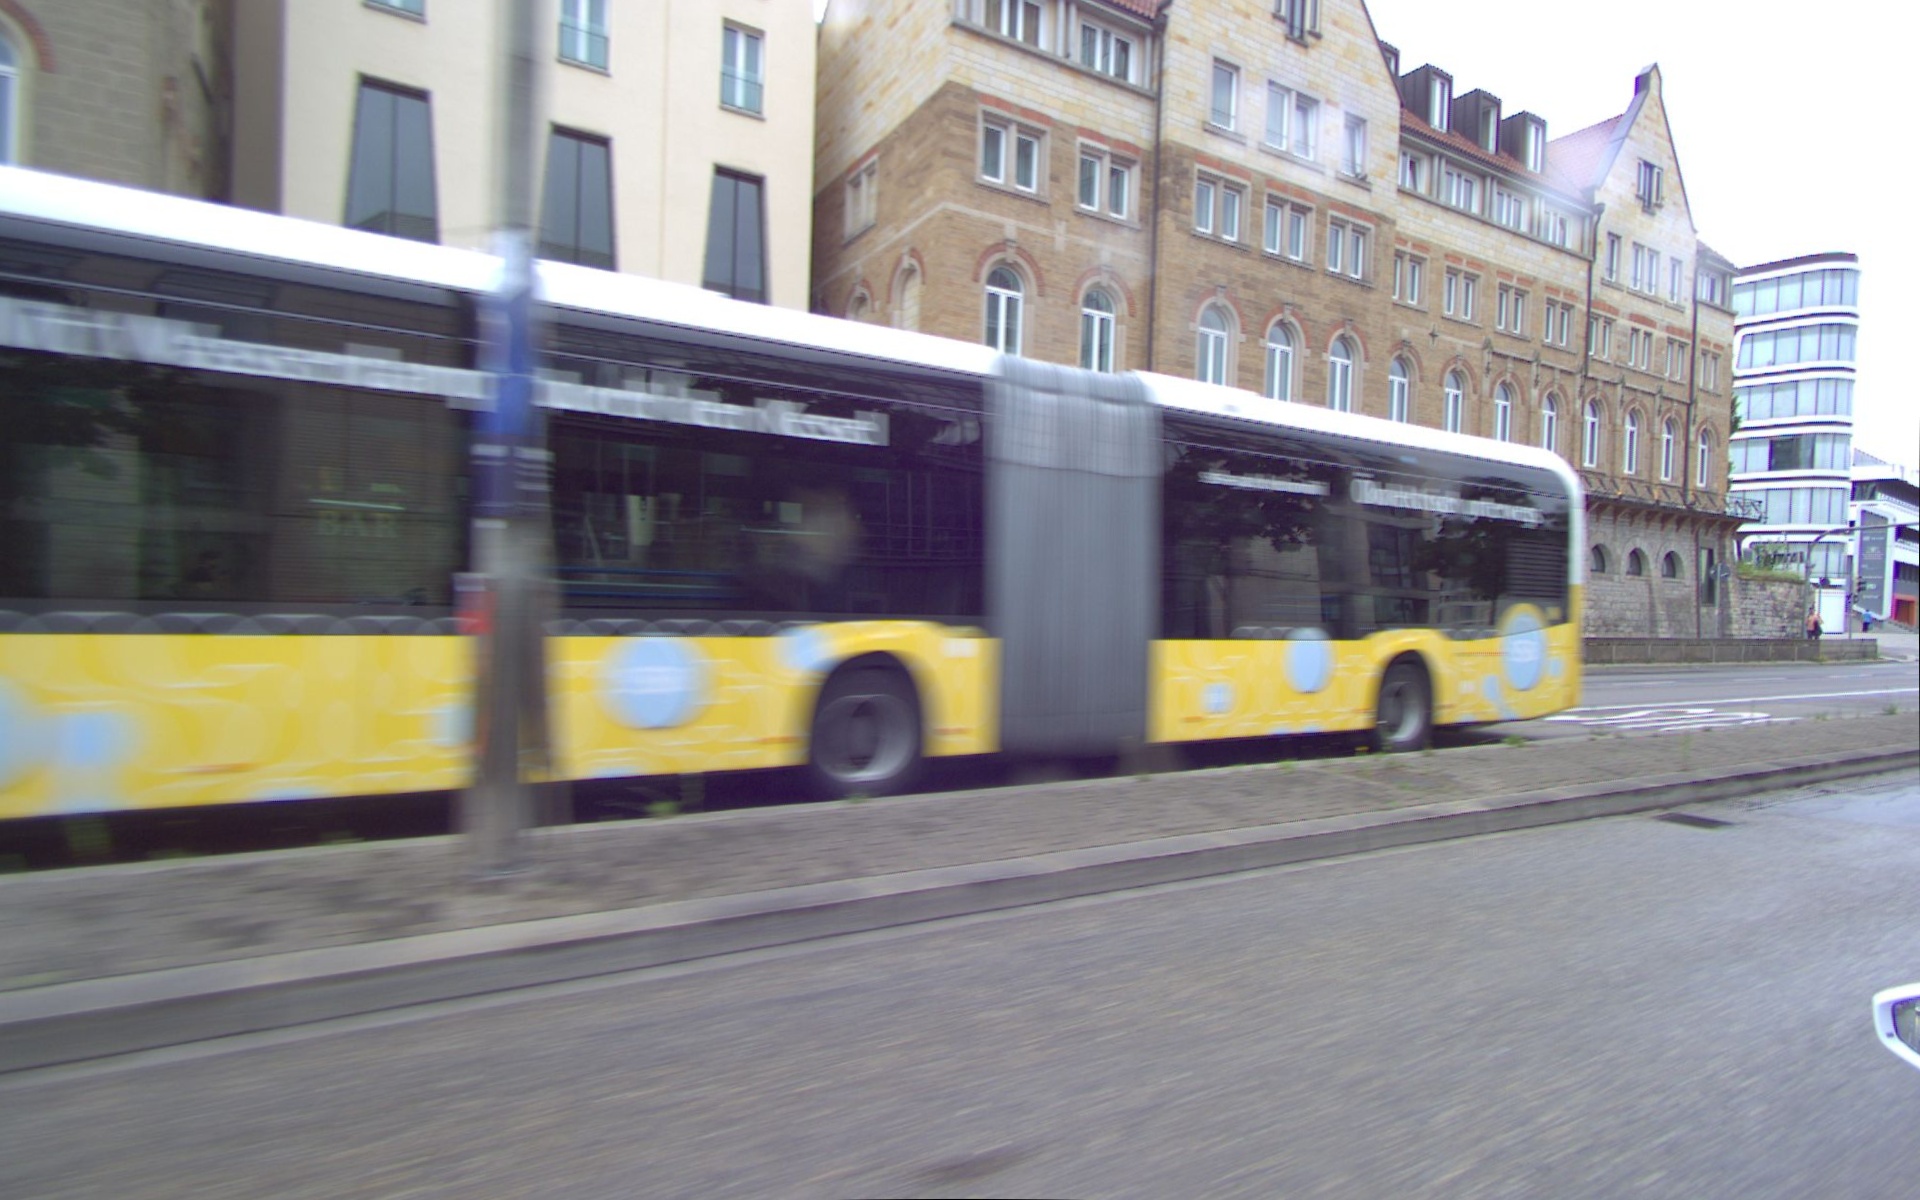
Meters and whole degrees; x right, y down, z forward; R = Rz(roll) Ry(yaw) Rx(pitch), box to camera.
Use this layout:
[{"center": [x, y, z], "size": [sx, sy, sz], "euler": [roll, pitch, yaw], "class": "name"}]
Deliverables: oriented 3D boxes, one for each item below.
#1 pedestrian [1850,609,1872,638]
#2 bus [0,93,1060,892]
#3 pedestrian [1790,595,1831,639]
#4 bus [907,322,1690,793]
[{"center": [63.861, 1.660, 71.188], "size": [0.707, 2.041, 1.024], "euler": [-1, 1, -31], "class": "pedestrian"}, {"center": [-4.196, -0.472, 6.195], "size": [9.978, 3.607, 2.684], "euler": [1, 0, -31], "class": "bus"}, {"center": [37.240, 0.746, 44.004], "size": [1.040, 1.892, 0.883], "euler": [0, 1, 4], "class": "pedestrian"}, {"center": [4.425, -0.264, 11.458], "size": [9.978, 3.607, 2.684], "euler": [1, 0, -31], "class": "bus"}]
